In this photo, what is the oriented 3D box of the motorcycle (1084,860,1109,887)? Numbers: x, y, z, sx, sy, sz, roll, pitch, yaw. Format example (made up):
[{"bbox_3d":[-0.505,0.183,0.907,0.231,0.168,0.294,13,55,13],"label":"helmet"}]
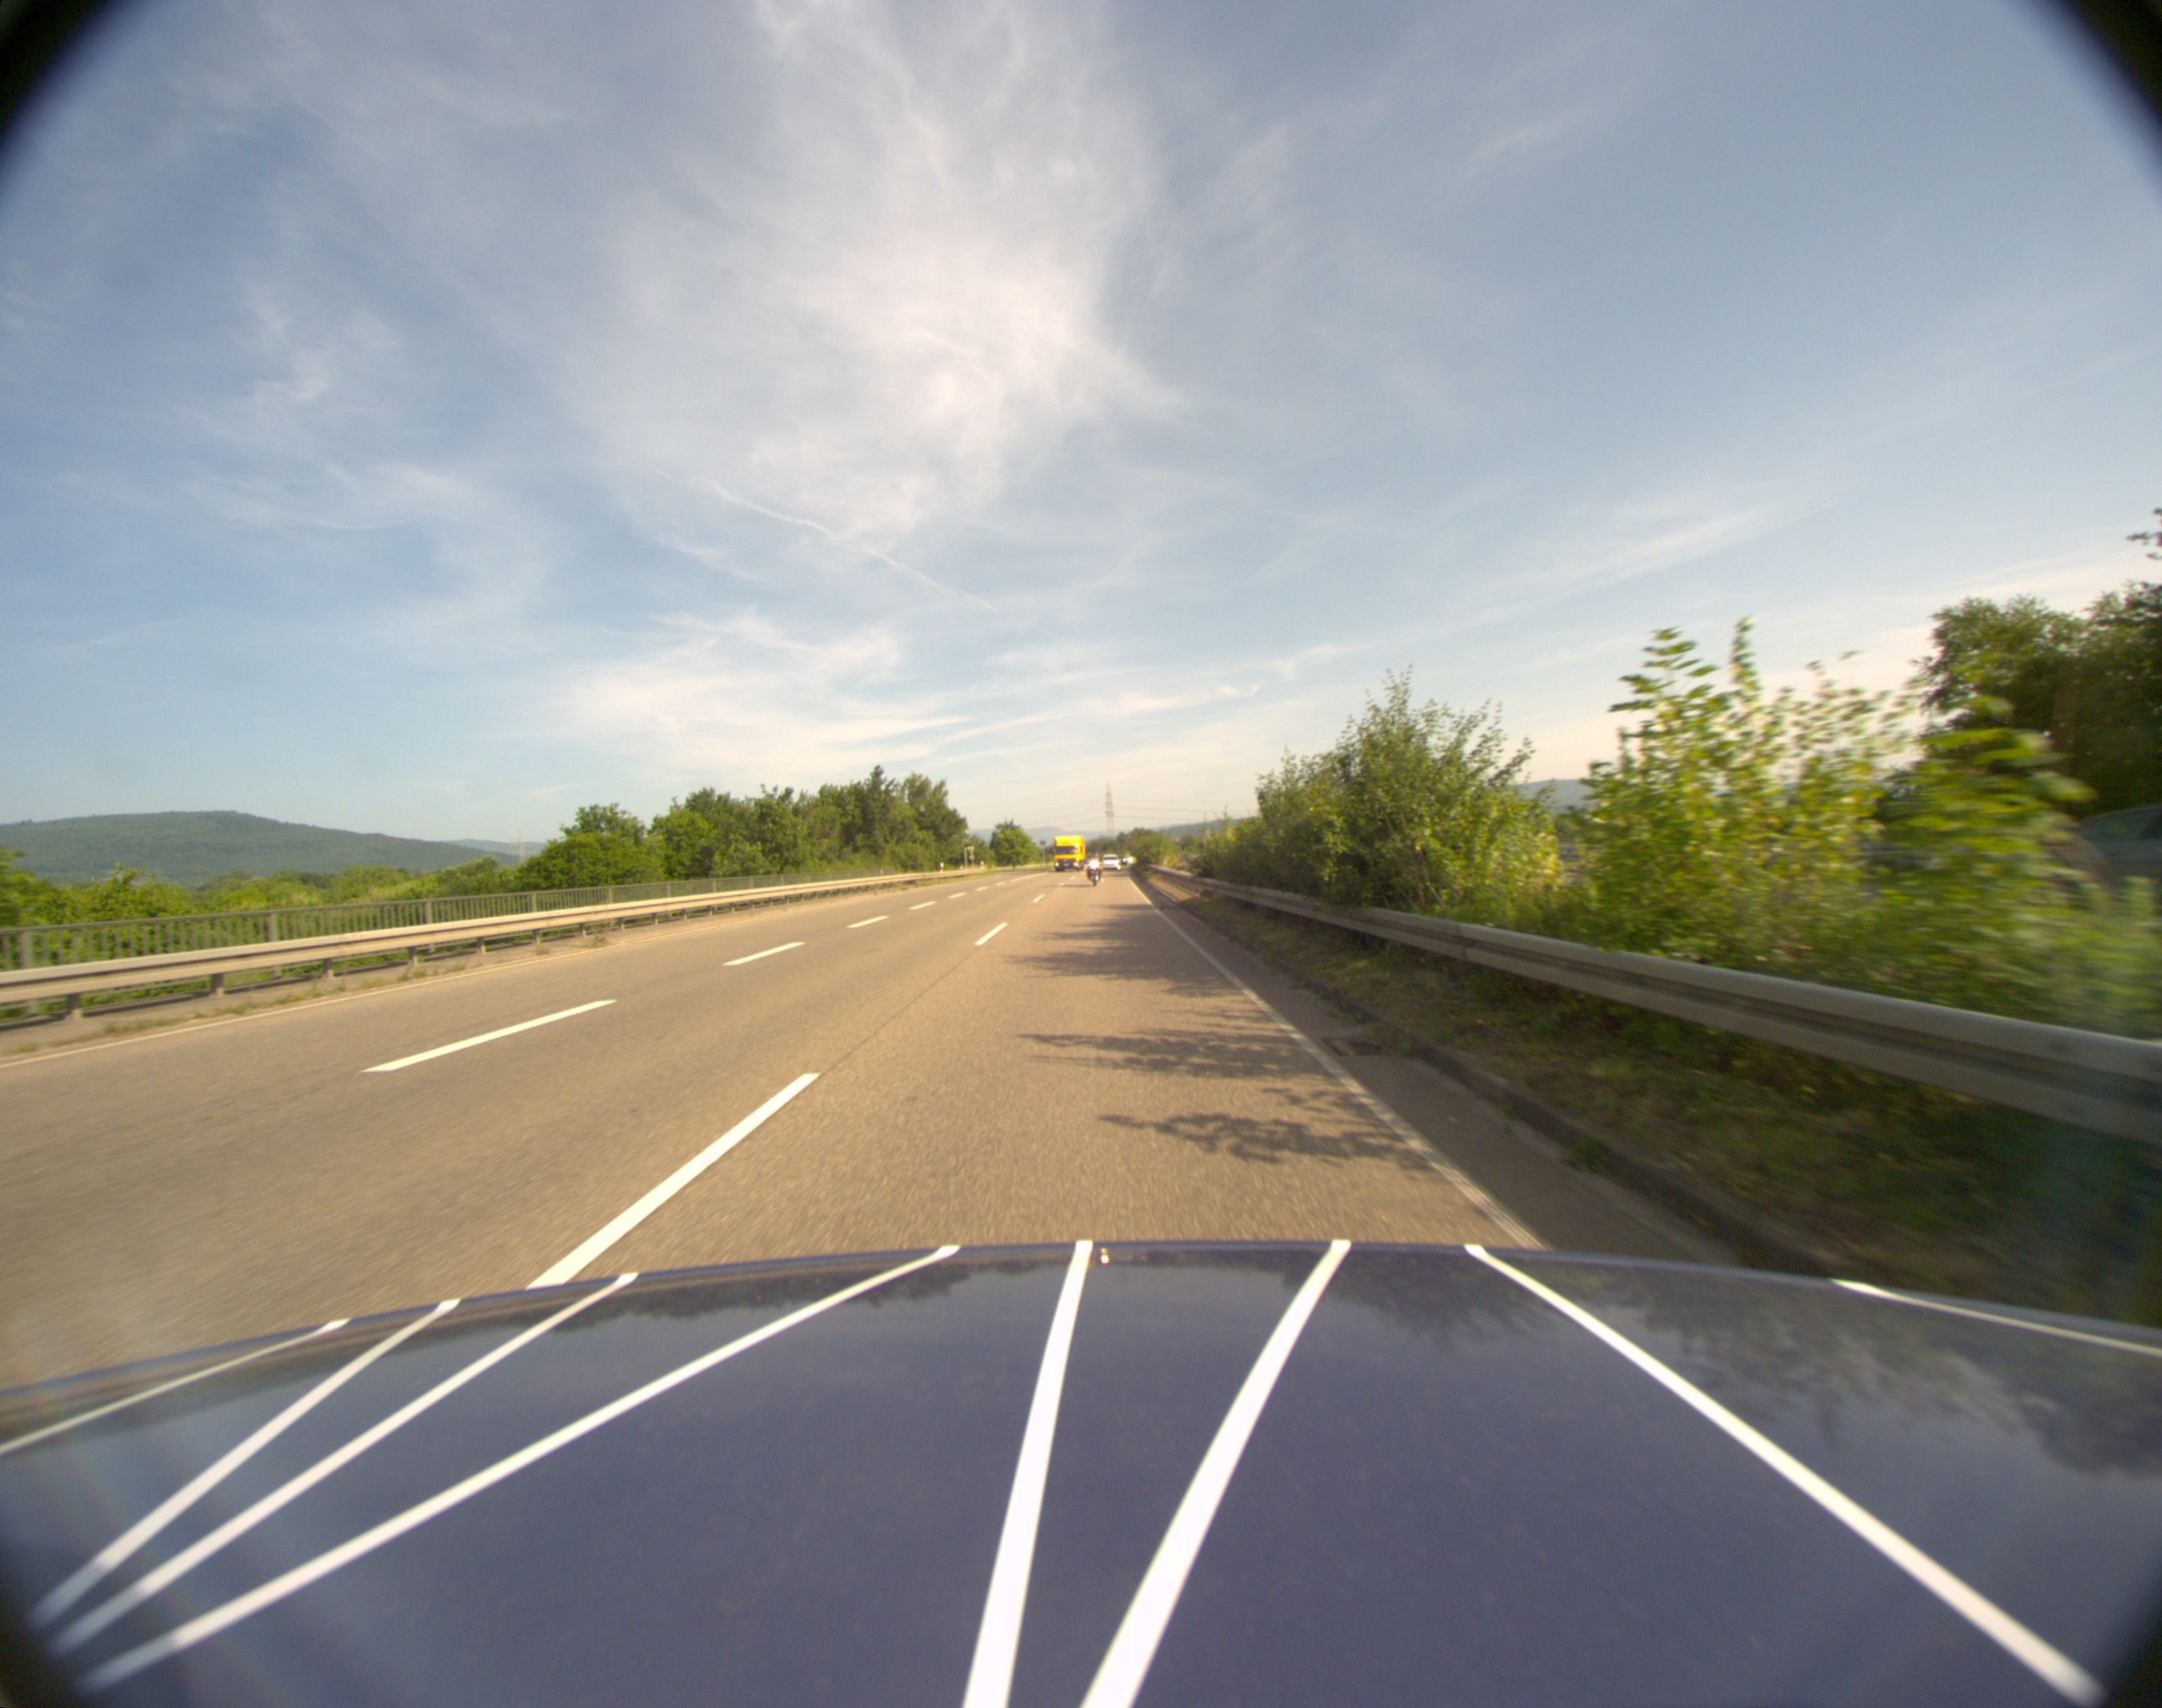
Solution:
[{"bbox_3d":[0.764,0.896,36.070,0.936,1.131,2.583,-2,1,6],"label":"motorcycle"}]

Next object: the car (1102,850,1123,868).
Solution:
[{"bbox_3d":[2.870,0.410,68.799,1.869,1.454,4.084,-2,1,3],"label":"car"}]

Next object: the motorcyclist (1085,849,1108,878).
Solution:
[{"bbox_3d":[0.752,0.453,36.067,0.936,1.344,1.143,-2,1,7],"label":"motorcyclist"}]

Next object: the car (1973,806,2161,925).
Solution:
[{"bbox_3d":[14.157,0.120,9.116,1.959,1.444,4.104,-1,1,-5],"label":"car"}]

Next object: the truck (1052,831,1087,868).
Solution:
[{"bbox_3d":[-0.971,-0.386,74.455,2.785,3.297,10.491,-2,0,2],"label":"truck"}]
